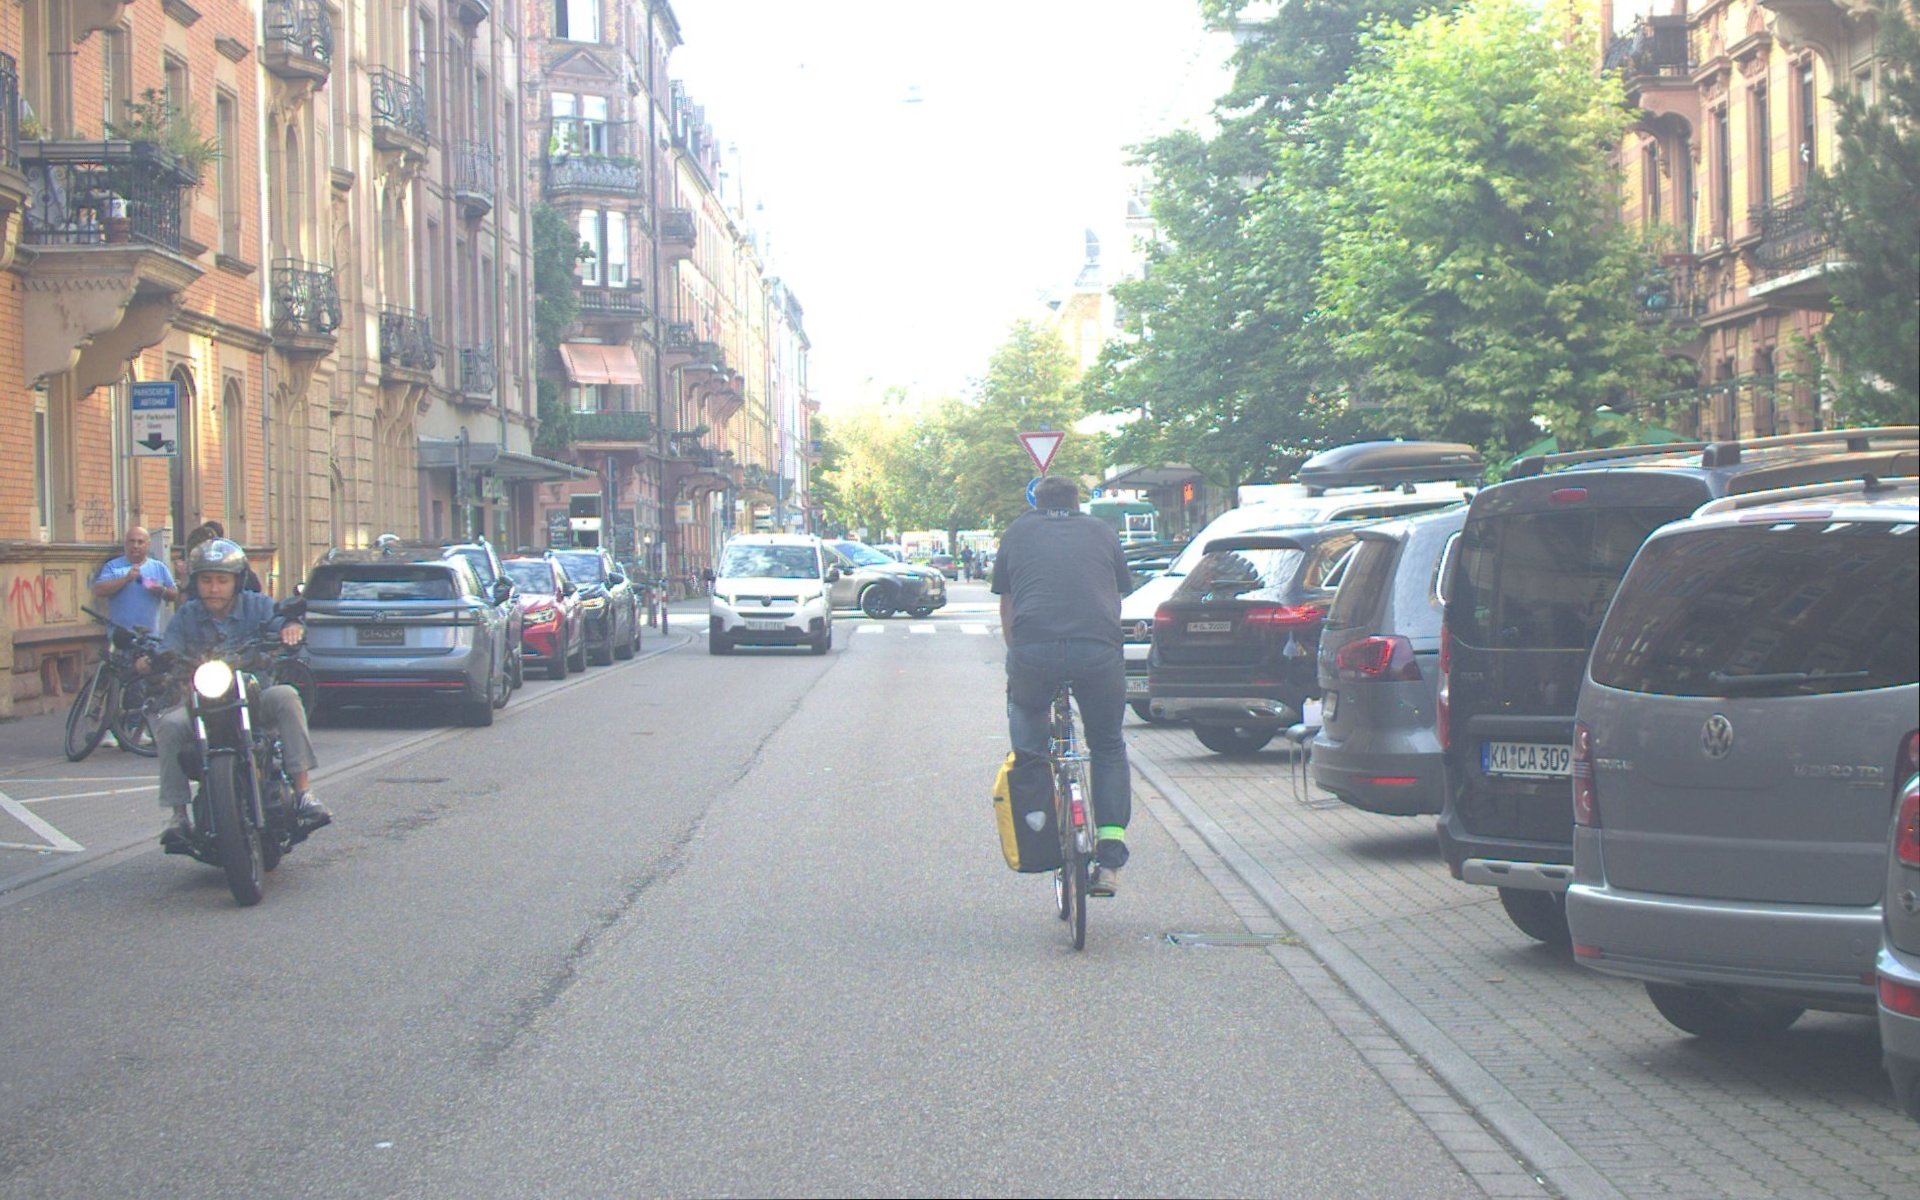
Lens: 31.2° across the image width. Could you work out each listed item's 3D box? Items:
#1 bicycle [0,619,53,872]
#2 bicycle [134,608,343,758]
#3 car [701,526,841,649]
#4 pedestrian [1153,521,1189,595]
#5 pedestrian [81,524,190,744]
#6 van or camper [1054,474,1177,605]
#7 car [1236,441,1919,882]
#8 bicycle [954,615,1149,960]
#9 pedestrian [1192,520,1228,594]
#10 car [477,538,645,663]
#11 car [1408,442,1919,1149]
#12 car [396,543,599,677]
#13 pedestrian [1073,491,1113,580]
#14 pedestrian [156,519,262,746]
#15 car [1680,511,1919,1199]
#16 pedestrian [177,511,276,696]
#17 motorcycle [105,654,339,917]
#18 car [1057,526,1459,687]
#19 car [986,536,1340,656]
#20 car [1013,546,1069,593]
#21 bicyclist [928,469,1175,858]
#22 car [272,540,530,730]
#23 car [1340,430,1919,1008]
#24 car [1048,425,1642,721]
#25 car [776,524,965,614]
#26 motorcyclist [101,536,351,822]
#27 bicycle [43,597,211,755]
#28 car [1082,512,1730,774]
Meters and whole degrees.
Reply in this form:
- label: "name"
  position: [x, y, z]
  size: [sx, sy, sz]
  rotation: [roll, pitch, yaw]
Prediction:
- label: "bicycle"
  position: [-5.230, 0.674, 15.360]
  size: [0.807, 1.155, 2.265]
  rotation: [1, 1, 37]
- label: "bicycle"
  position: [-5.314, 0.595, 25.447]
  size: [0.482, 1.055, 1.902]
  rotation: [1, 0, 24]
- label: "car"
  position: [-2.885, -0.212, 53.329]
  size: [1.917, 1.822, 4.438]
  rotation: [0, 1, 0]
- label: "pedestrian"
  position: [5.322, -1.063, 86.644]
  size: [0.869, 1.845, 0.612]
  rotation: [-1, 1, 5]
- label: "pedestrian"
  position: [-6.317, 0.251, 26.333]
  size: [0.679, 1.655, 0.551]
  rotation: [0, 1, -30]
- label: "van or camper"
  position: [3.716, -1.453, 82.971]
  size: [2.531, 3.027, 4.459]
  rotation: [-1, 1, -2]
- label: "car"
  position: [3.778, 0.202, 16.471]
  size: [4.636, 1.778, 1.810]
  rotation: [-4, 3, -1]
- label: "bicycle"
  position: [0.320, 0.668, 13.410]
  size: [0.665, 1.174, 2.497]
  rotation: [0, 1, -1]
- label: "pedestrian"
  position: [6.293, -1.080, 86.477]
  size: [0.869, 1.845, 0.612]
  rotation: [-1, 1, 5]
- label: "car"
  position: [-5.510, -0.016, 48.018]
  size: [1.790, 1.623, 4.847]
  rotation: [-1, 1, 0]
- label: "car"
  position: [3.512, 0.400, 10.247]
  size: [3.987, 1.735, 1.840]
  rotation: [-3, 1, -31]
- label: "car"
  position: [-5.657, 0.096, 42.546]
  size: [1.993, 1.539, 4.427]
  rotation: [-1, 1, -1]
- label: "pedestrian"
  position: [2.612, -1.270, 67.496]
  size: [0.629, 1.733, 0.775]
  rotation: [-1, 1, 12]
- label: "pedestrian"
  position: [-5.724, 0.237, 26.203]
  size: [0.564, 1.703, 0.667]
  rotation: [0, 1, -35]
- label: "car"
  position: [3.683, 0.493, 7.632]
  size: [3.988, 1.543, 1.868]
  rotation: [-4, 2, -37]
- label: "pedestrian"
  position: [-7.256, 0.032, 34.036]
  size: [0.756, 1.802, 0.863]
  rotation: [0, 1, 3]
- label: "motorcycle"
  position: [-3.235, 0.775, 15.277]
  size: [0.793, 0.992, 2.500]
  rotation: [0, 1, -7]
- label: "car"
  position: [3.430, 0.044, 39.115]
  size: [4.456, 1.472, 1.889]
  rotation: [-5, 3, -40]
- label: "car"
  position: [2.993, -0.091, 50.440]
  size: [4.753, 1.452, 2.057]
  rotation: [-4, 3, -28]
- label: "car"
  position: [2.508, -0.963, 106.718]
  size: [1.645, 1.320, 3.576]
  rotation: [-4, 1, 1]
- label: "bicyclist"
  position: [0.345, 0.239, 13.470]
  size: [0.933, 1.479, 0.747]
  rotation: [0, 1, 0]
- label: "car"
  position: [-4.967, 0.258, 31.153]
  size: [1.825, 1.573, 5.264]
  rotation: [0, 1, -4]
- label: "car"
  position: [3.743, 0.295, 12.855]
  size: [4.390, 1.816, 1.755]
  rotation: [-3, 1, -32]
- label: "car"
  position: [3.481, -0.293, 30.581]
  size: [5.144, 2.397, 1.918]
  rotation: [-3, 1, -33]
- label: "car"
  position: [-1.907, -0.668, 73.673]
  size: [3.987, 1.875, 2.000]
  rotation: [0, 1, -1]
- label: "motorcyclist"
  position: [-3.267, 0.338, 15.383]
  size: [1.013, 1.241, 0.803]
  rotation: [0, 1, -6]
- label: "bicycle"
  position: [-6.068, 0.530, 25.126]
  size: [0.493, 1.091, 1.904]
  rotation: [1, 0, 8]
- label: "car"
  position: [3.254, 0.232, 24.737]
  size: [4.444, 1.726, 2.000]
  rotation: [-1, 1, -35]
